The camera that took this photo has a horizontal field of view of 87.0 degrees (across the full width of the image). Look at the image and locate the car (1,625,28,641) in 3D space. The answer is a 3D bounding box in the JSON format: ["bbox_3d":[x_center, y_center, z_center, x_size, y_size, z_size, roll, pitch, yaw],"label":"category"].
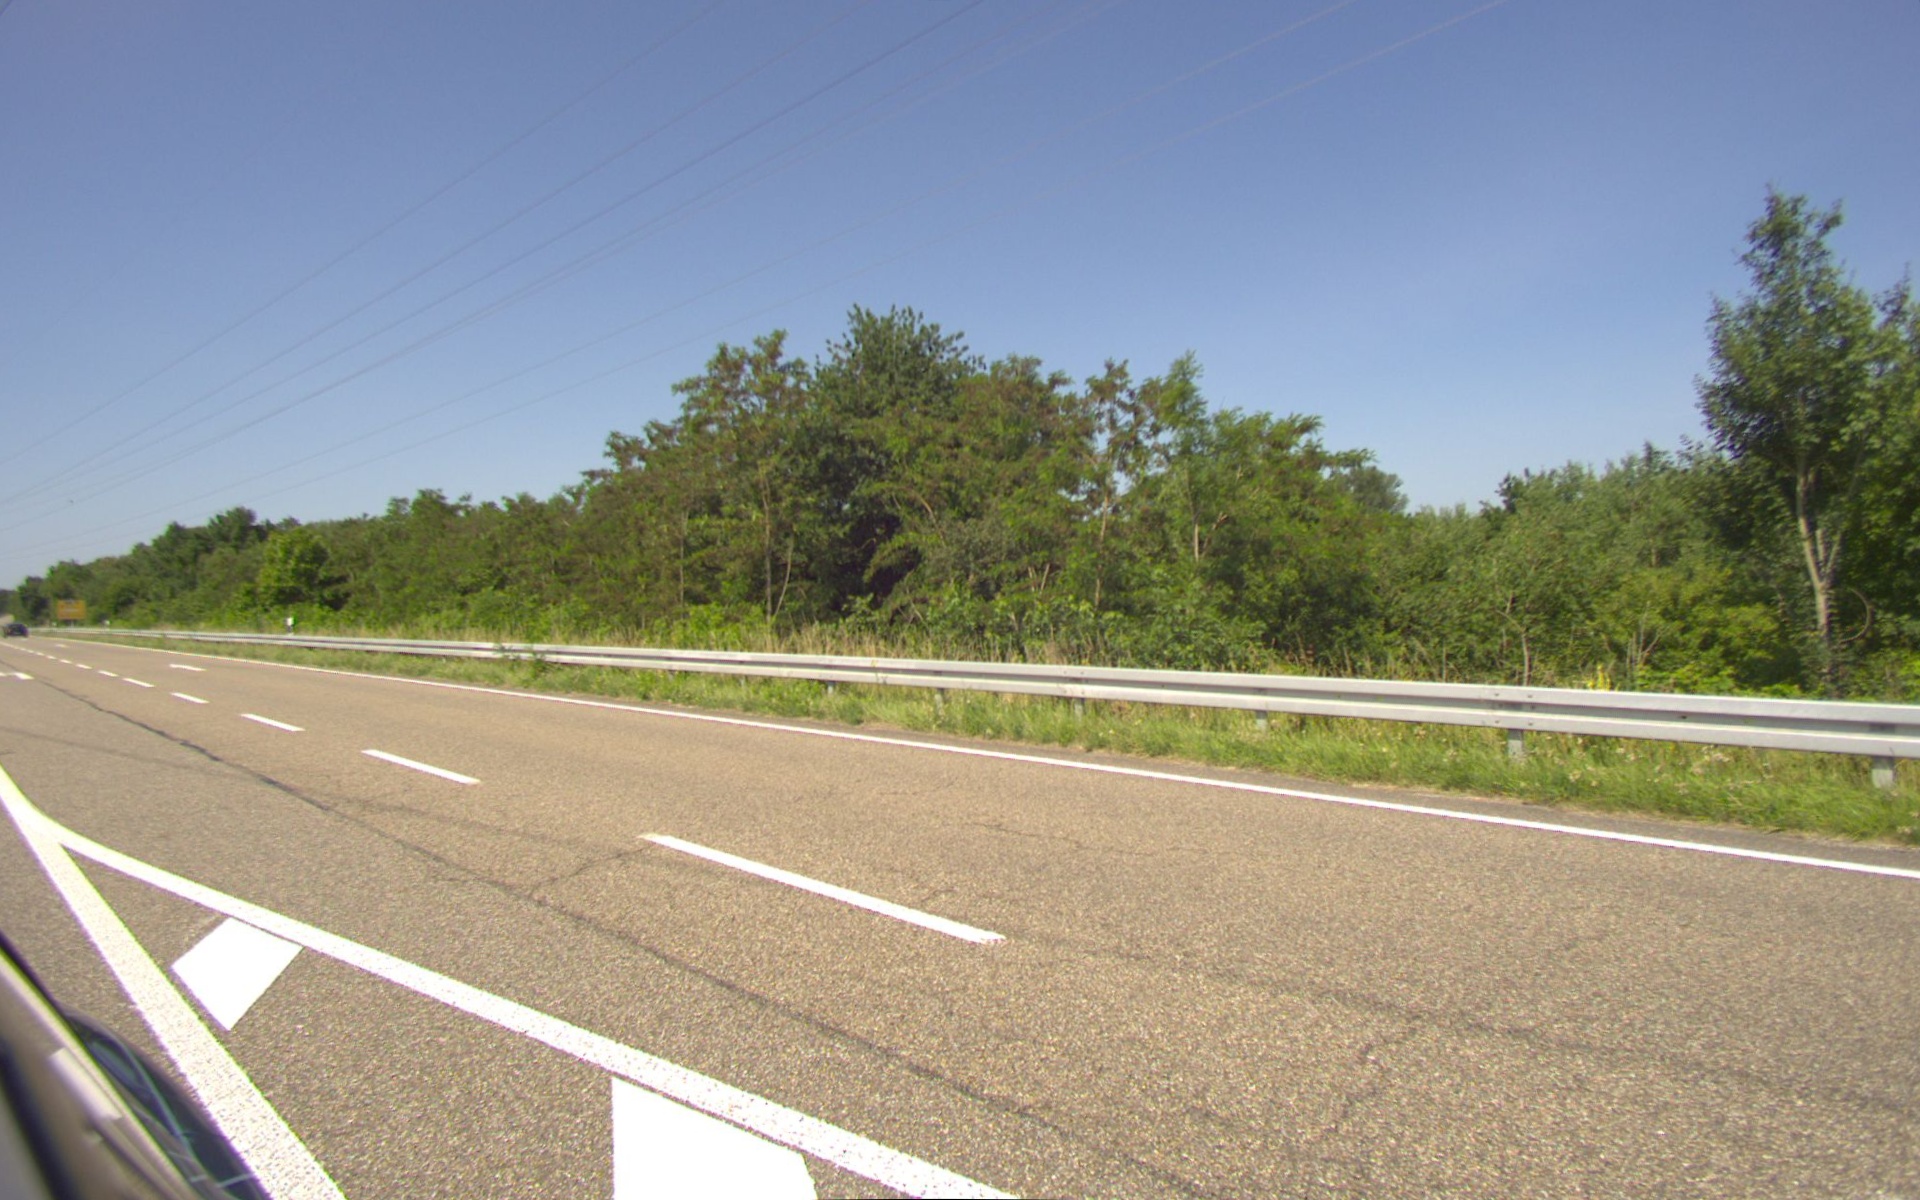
[{"bbox_3d":[-91.428,3.174,97.834,4.215,1.453,1.641,-1,0,43],"label":"car"}]
